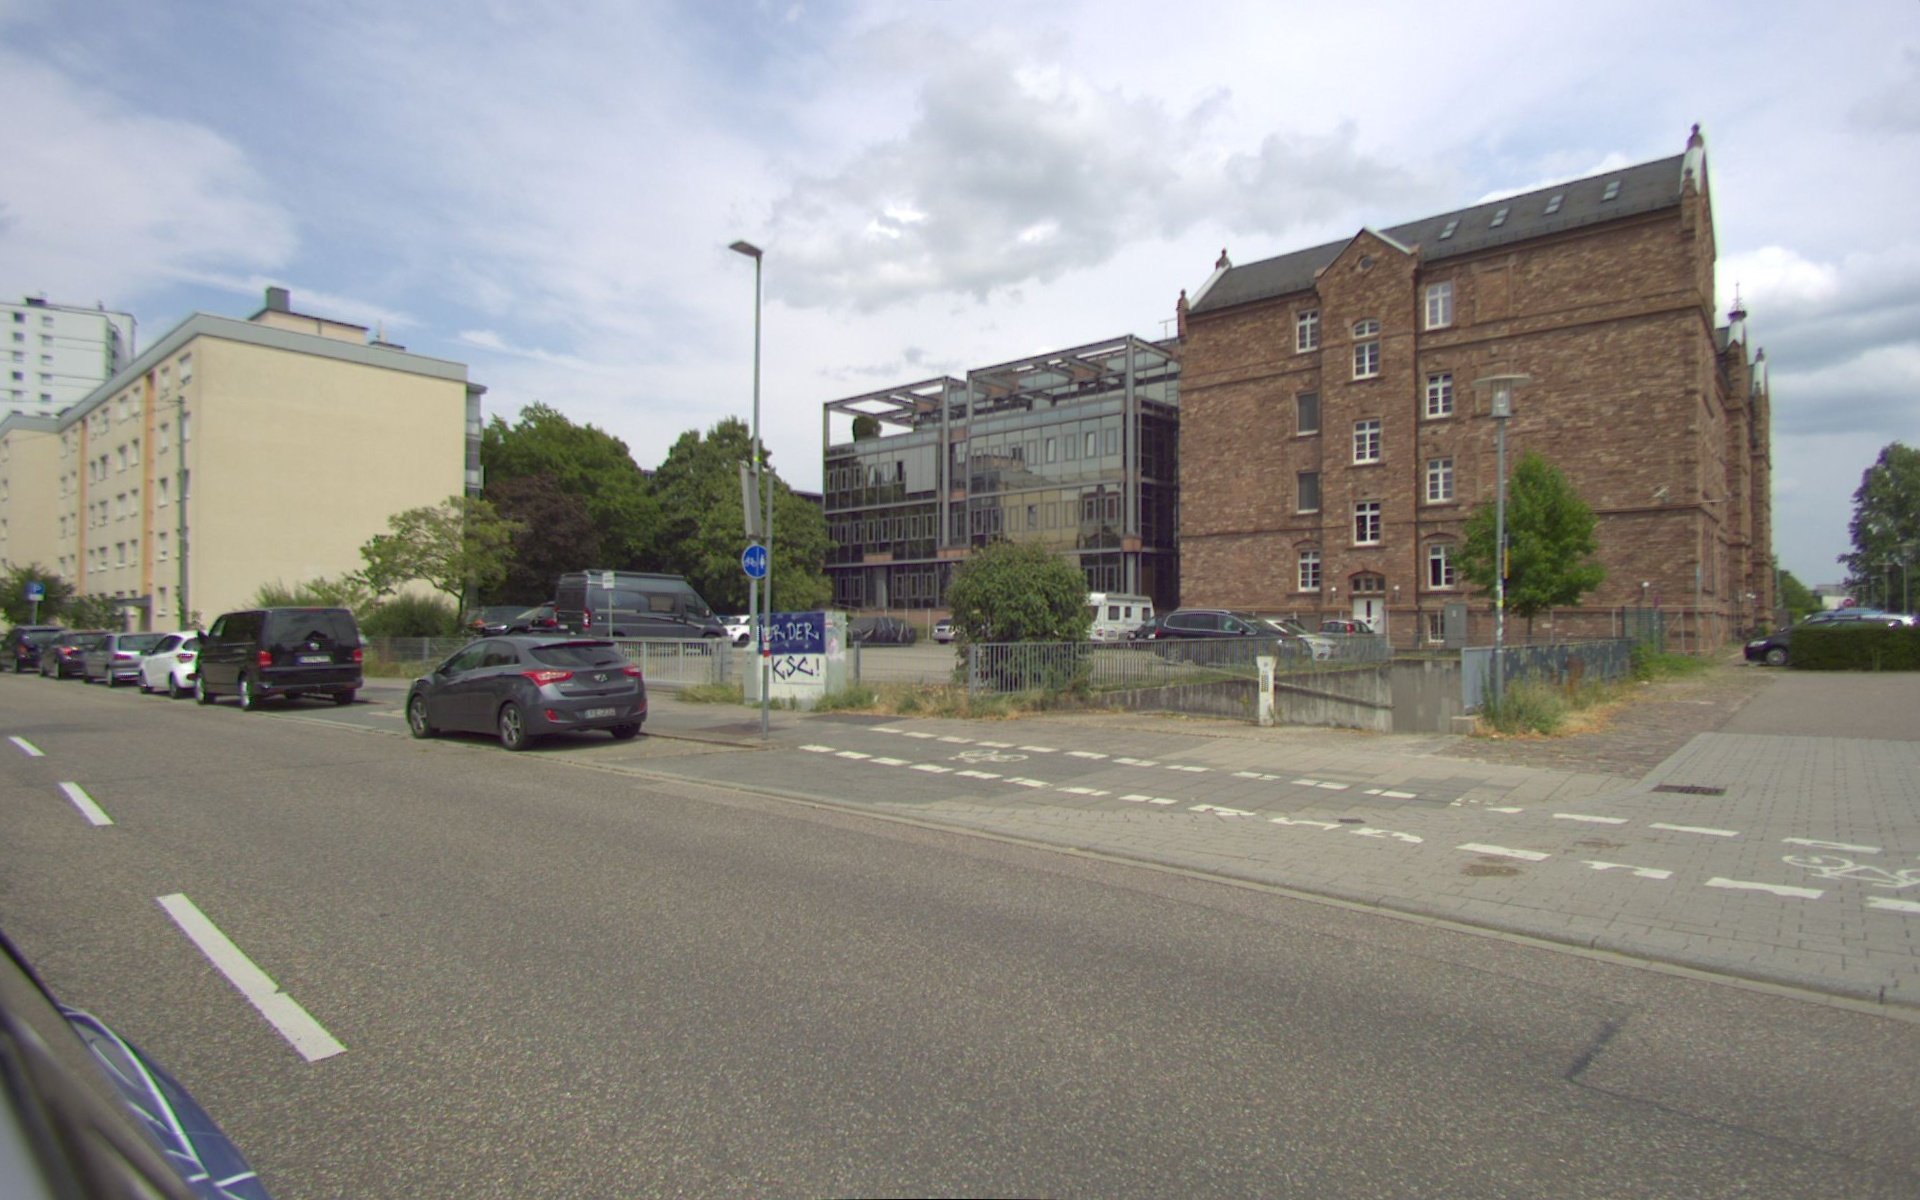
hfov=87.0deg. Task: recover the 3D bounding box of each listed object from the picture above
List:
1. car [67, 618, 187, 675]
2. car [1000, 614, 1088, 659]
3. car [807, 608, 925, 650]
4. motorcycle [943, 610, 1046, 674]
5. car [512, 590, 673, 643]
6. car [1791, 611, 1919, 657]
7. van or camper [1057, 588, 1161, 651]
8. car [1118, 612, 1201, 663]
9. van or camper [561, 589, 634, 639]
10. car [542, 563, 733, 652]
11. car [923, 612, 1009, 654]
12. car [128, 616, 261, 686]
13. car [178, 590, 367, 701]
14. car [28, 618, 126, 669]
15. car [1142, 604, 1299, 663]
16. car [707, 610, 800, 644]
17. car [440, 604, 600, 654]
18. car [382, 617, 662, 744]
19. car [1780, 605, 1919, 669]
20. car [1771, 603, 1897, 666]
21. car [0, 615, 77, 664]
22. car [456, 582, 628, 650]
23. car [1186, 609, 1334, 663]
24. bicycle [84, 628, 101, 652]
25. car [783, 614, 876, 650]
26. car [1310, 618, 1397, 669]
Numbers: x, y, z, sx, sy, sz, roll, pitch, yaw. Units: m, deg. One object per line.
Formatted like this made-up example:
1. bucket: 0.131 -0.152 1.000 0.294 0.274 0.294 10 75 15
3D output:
1. car: -22.860 1.242 27.722 4.257 1.468 1.671 -2 -2 38
2. car: 4.256 1.841 50.869 2.205 2.153 4.312 -2 -3 44
3. car: -3.933 1.271 42.908 2.330 1.677 4.642 -1 -3 42
4. motorcycle: 0.685 0.812 19.131 0.725 1.151 2.067 -1 -4 44
5. car: -12.073 0.578 33.468 2.000 1.630 4.646 -2 -2 42
6. car: 32.470 1.223 36.163 4.167 1.562 1.566 -2 -3 43
7. van or camper: 6.945 0.947 46.786 2.579 2.723 4.998 -1 -3 39
8. car: 9.010 1.710 45.455 1.726 2.153 4.315 -1 -3 41
9. van or camper: -22.665 0.897 63.205 4.899 2.894 1.973 -2 -6 41
10. car: -10.028 0.191 31.839 2.354 2.571 5.255 -1 0 41
11. car: 0.355 1.793 53.788 2.205 2.153 4.312 -2 -3 44
12. car: -18.353 1.174 24.219 3.759 1.541 1.638 -2 -1 38
13. car: -14.182 0.879 20.769 4.839 2.019 1.929 -2 -1 40
14. car: -27.397 1.301 31.363 4.045 1.481 1.670 -1 -1 40
15. car: 7.880 0.985 30.780 4.231 1.669 1.944 0 -1 39
16. car: -9.671 1.254 47.687 1.968 1.494 3.947 0 -1 40
17. car: -16.037 1.063 37.106 2.000 1.686 5.030 -2 -3 42
18. car: -6.251 1.021 14.244 4.292 1.484 1.805 -1 0 39
19. car: 25.968 1.051 28.645 4.167 1.724 1.566 -2 -3 43
20. car: 39.334 1.573 45.626 4.166 2.734 1.567 -2 -3 42
21. car: -31.897 1.314 34.670 3.992 1.587 1.607 -1 -2 36
22. car: -14.404 0.615 35.077 2.228 2.166 5.030 -2 -3 42
23. car: 9.785 1.139 33.135 4.231 1.669 1.944 0 -1 39
24. bicycle: -46.098 2.120 53.760 2.019 1.216 0.526 -1 -1 45
25. car: -5.714 1.406 44.718 1.615 1.494 4.113 0 -1 40
26. car: 15.949 1.777 40.948 1.875 1.952 4.457 -1 -3 41
